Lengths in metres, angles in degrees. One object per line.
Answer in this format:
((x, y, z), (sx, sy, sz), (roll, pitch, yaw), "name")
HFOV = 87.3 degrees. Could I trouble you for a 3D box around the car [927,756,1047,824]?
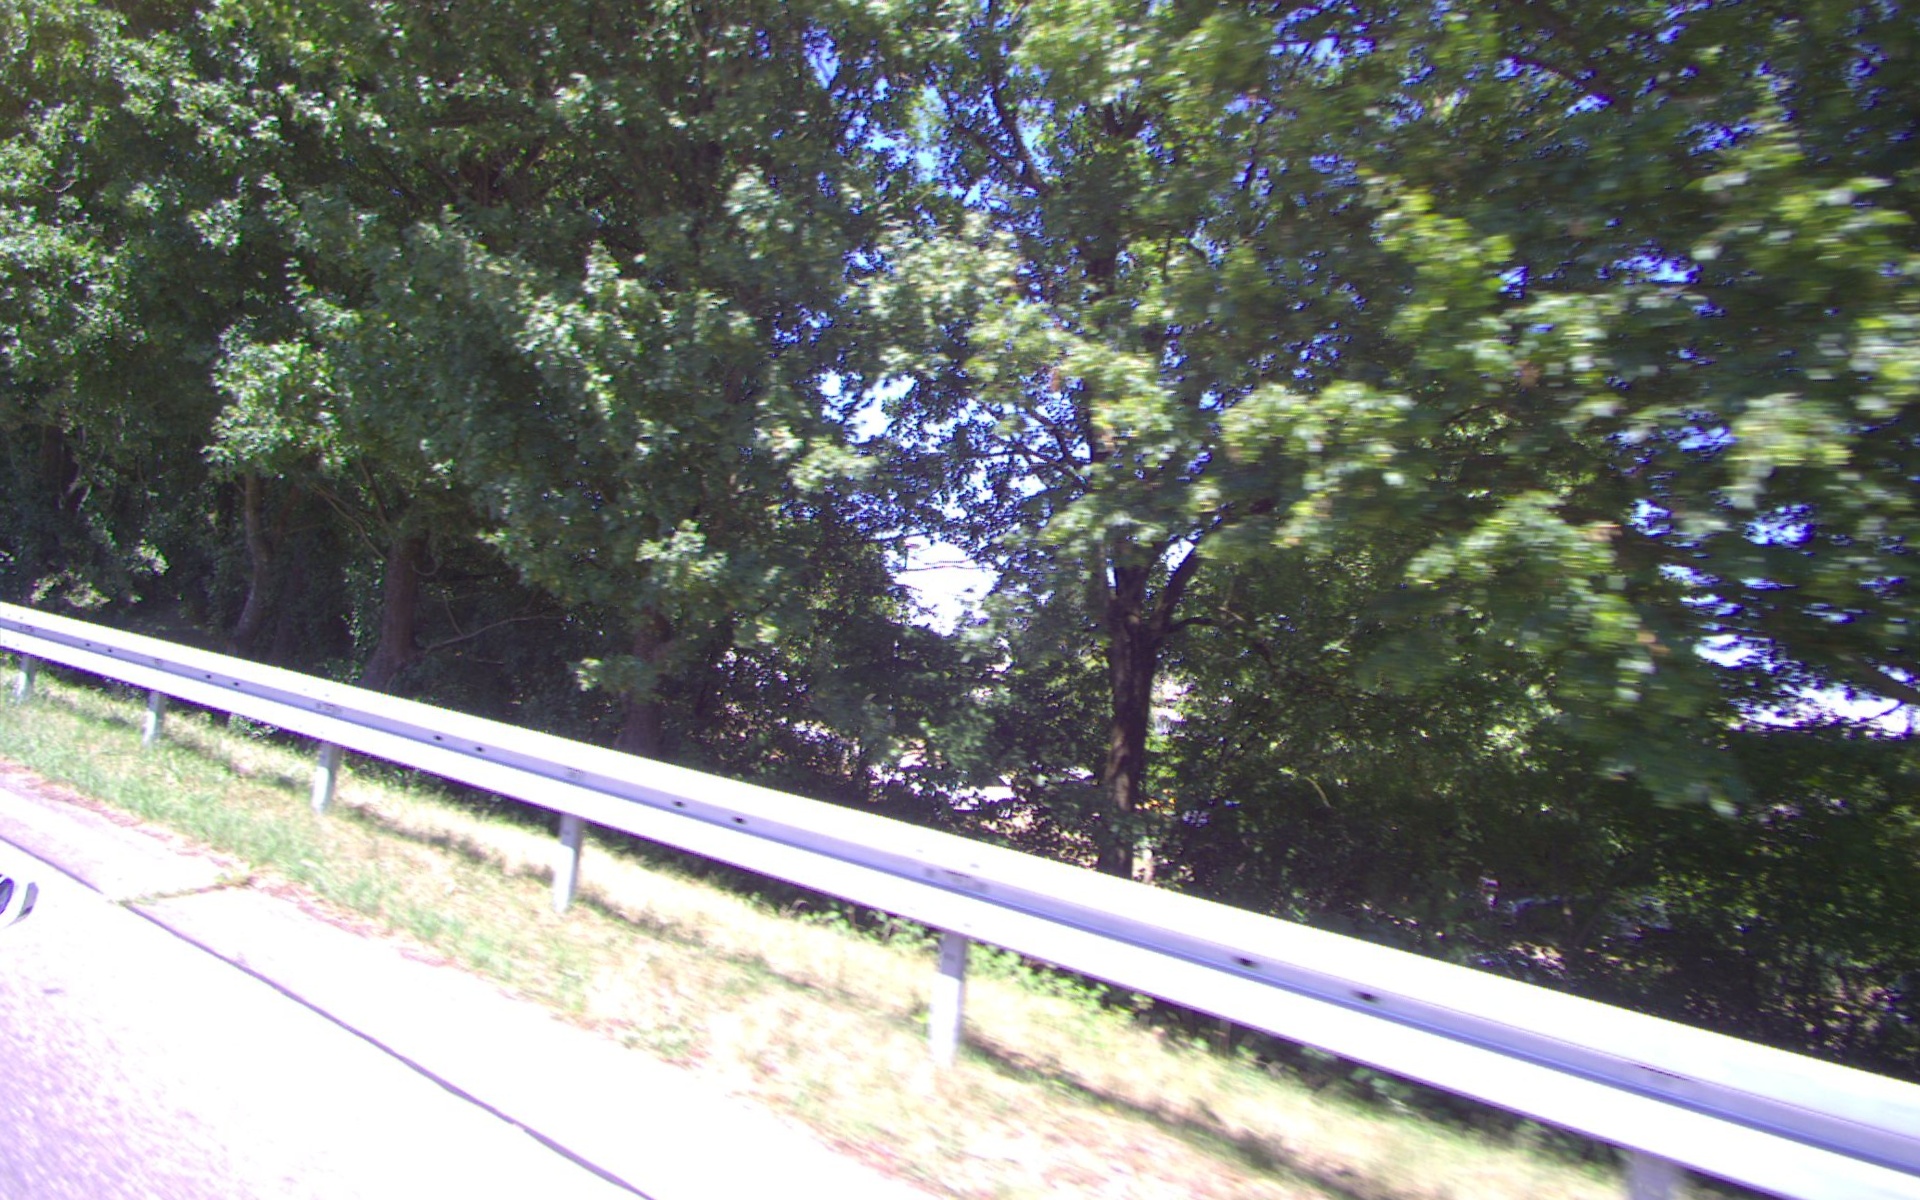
((1.041, 7.290, 38.554), (3.957, 2.036, 1.987), (9, -3, -28), "car")
